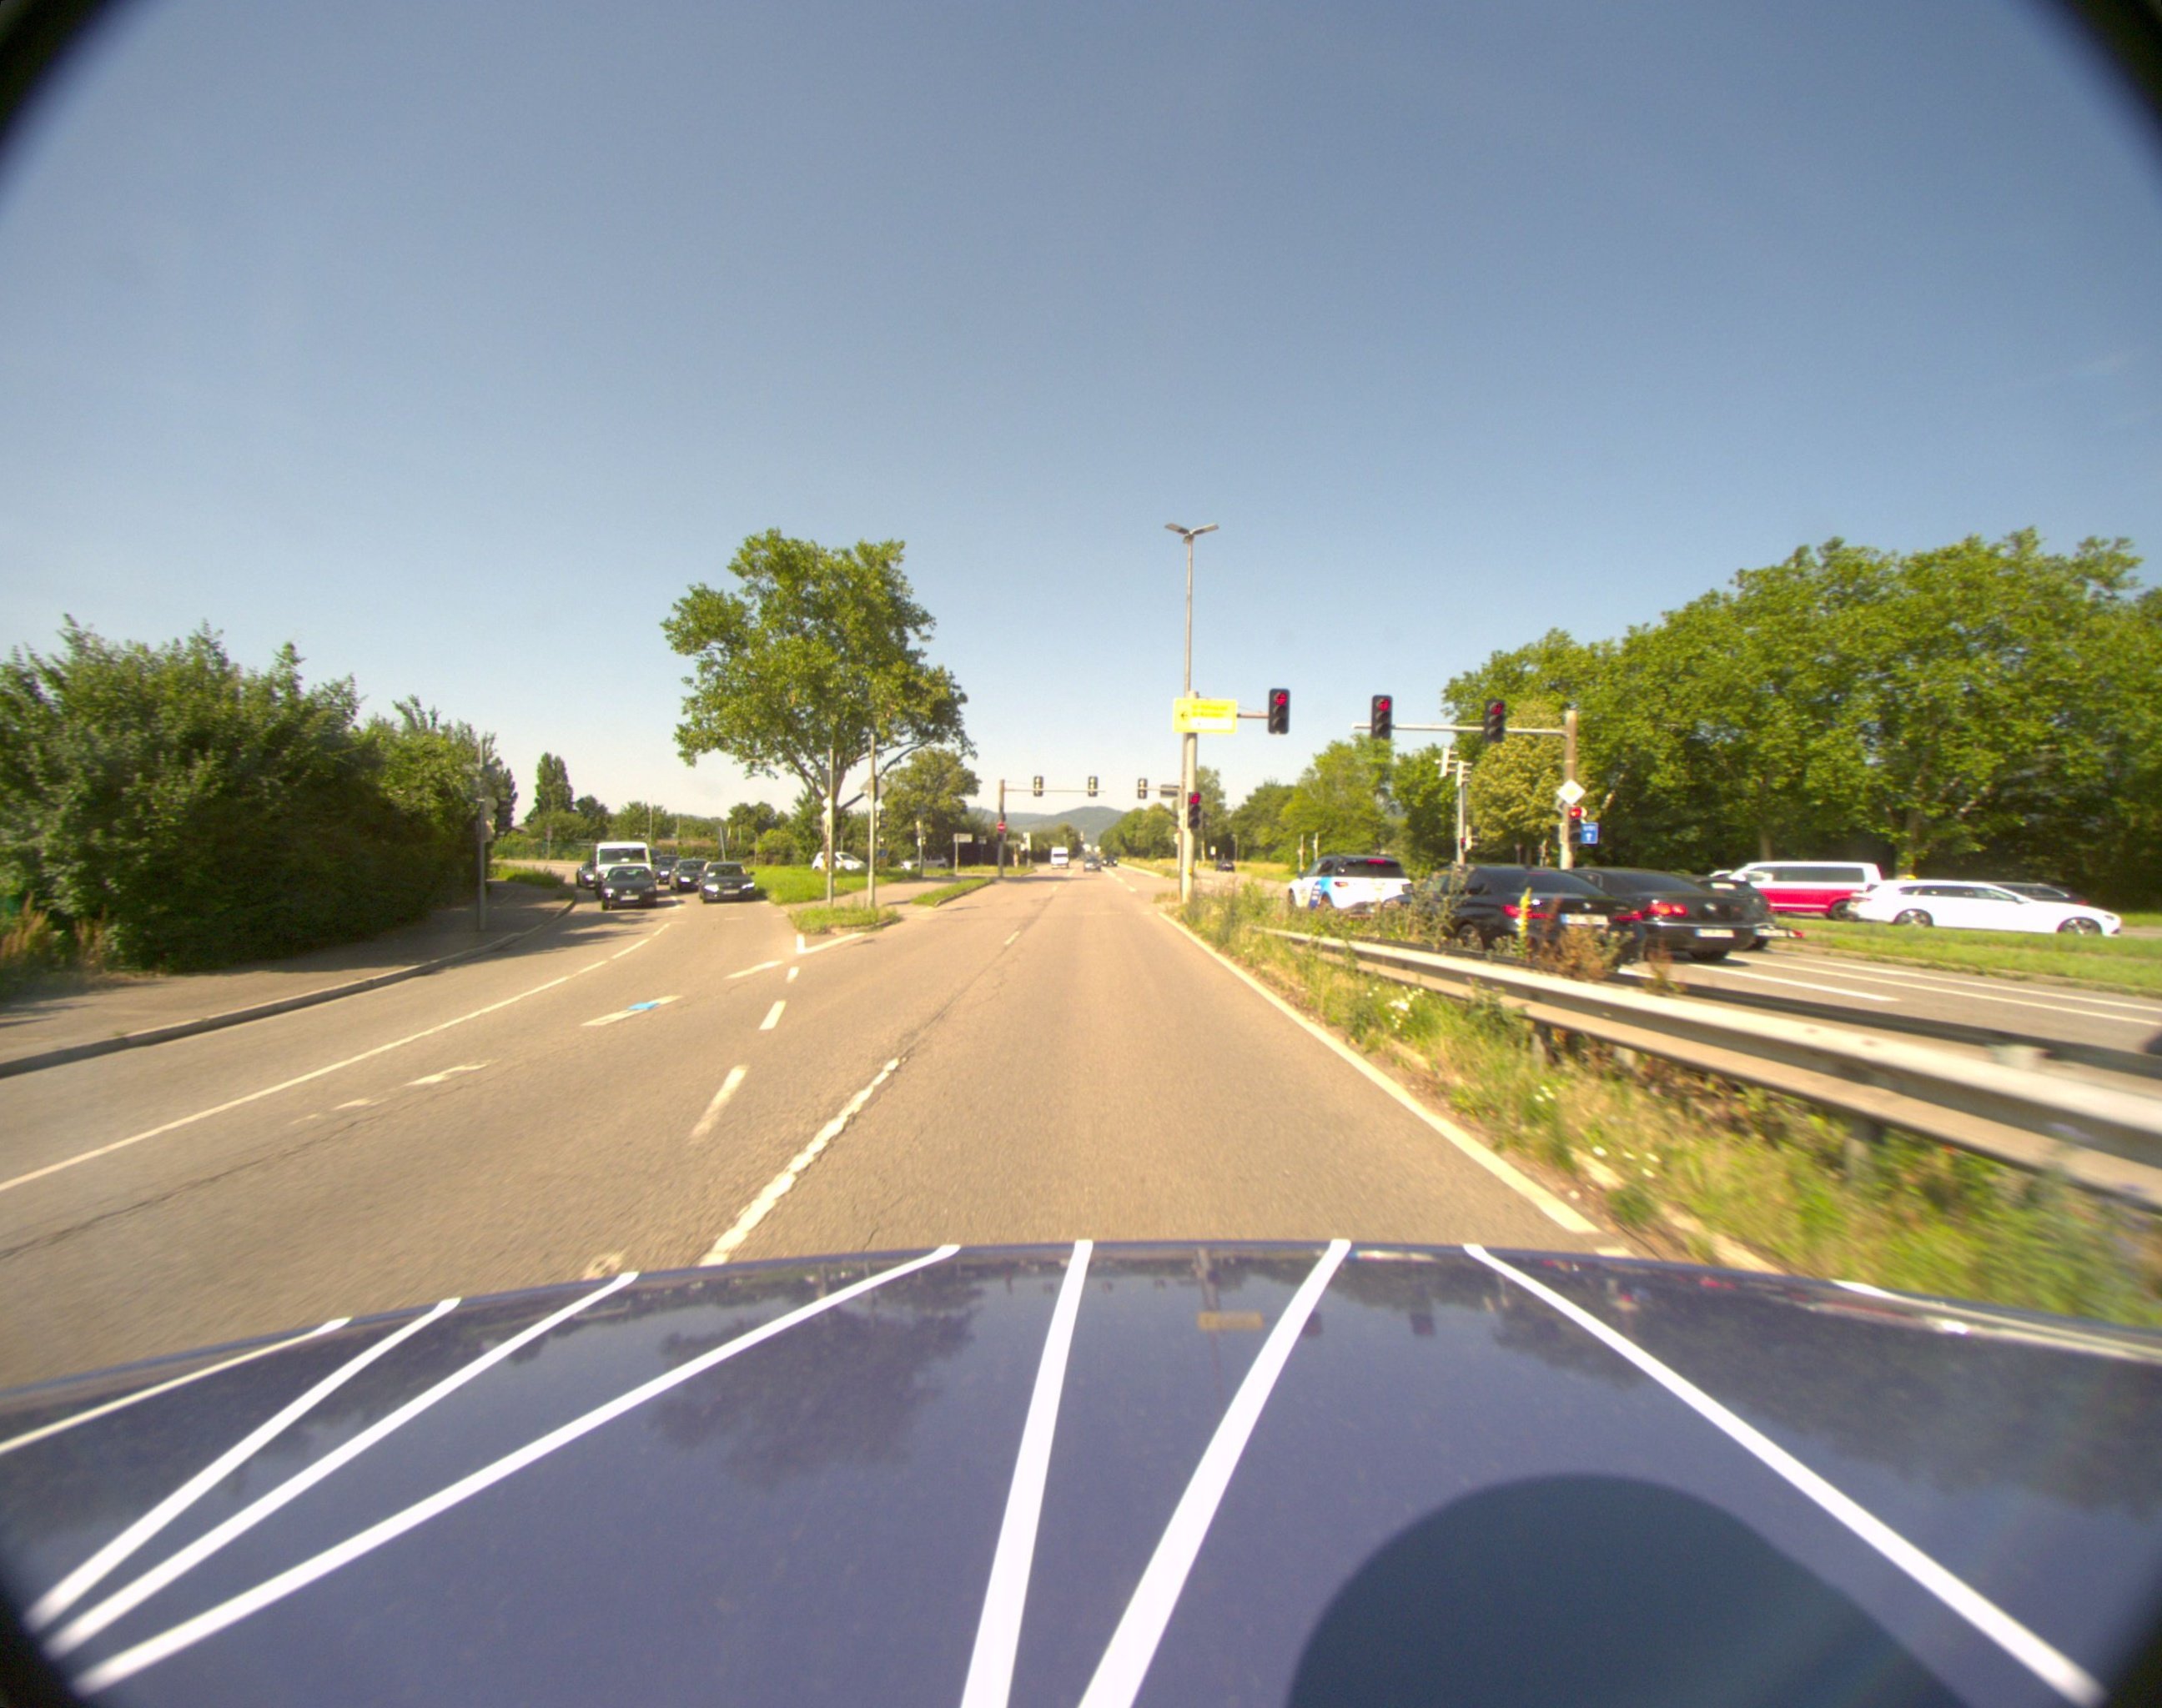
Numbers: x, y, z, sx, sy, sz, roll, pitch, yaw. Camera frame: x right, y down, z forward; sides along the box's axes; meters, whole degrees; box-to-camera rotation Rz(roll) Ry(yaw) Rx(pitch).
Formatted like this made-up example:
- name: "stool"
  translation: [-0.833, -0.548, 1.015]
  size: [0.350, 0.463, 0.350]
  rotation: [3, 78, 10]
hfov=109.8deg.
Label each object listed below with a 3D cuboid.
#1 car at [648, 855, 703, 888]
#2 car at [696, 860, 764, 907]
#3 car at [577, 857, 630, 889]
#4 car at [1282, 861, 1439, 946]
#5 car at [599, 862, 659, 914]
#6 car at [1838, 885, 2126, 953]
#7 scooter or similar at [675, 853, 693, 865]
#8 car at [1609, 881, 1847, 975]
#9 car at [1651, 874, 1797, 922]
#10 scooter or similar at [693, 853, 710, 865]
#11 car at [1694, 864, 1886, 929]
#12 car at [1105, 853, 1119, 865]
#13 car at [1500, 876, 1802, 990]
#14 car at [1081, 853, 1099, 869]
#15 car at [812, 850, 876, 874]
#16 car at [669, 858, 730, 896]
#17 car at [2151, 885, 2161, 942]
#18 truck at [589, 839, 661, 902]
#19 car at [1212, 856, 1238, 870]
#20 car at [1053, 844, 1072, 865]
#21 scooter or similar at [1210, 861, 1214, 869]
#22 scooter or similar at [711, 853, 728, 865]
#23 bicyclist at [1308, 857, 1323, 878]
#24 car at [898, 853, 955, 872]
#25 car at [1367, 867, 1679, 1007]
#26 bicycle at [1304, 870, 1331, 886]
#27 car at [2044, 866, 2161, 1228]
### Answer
- name: "car"
  translation: [-22.238, 0.900, 41.602]
  size: [1.890, 1.625, 4.456]
  rotation: [-2, 2, -38]
- name: "car"
  translation: [-13.454, 1.051, 28.995]
  size: [2.003, 1.538, 4.605]
  rotation: [0, 1, -29]
- name: "car"
  translation: [-24.681, 0.931, 39.218]
  size: [1.894, 1.412, 3.988]
  rotation: [-2, 2, -38]
- name: "car"
  translation: [6.079, 0.991, 17.135]
  size: [2.015, 1.600, 4.211]
  rotation: [1, 0, 1]
- name: "car"
  translation: [-15.753, 1.132, 26.606]
  size: [1.624, 1.539, 3.815]
  rotation: [-2, 2, -29]
- name: "car"
  translation: [25.259, 1.749, 21.652]
  size: [4.955, 1.456, 1.822]
  rotation: [2, 1, 36]
- name: "scooter or similar"
  translation: [-37.544, 0.477, 71.860]
  size: [1.384, 1.111, 0.500]
  rotation: [0, 1, -6]
- name: "car"
  translation: [12.556, 1.356, 15.095]
  size: [1.489, 1.406, 3.762]
  rotation: [3, 0, 1]
- name: "car"
  translation: [25.358, 1.679, 30.212]
  size: [4.255, 1.597, 2.009]
  rotation: [2, 0, 36]
- name: "scooter or similar"
  translation: [-35.956, 0.471, 71.995]
  size: [1.384, 1.111, 0.500]
  rotation: [0, 1, -6]
- name: "car"
  translation: [24.516, 1.398, 26.554]
  size: [4.641, 1.939, 2.004]
  rotation: [2, 1, 36]
- name: "car"
  translation: [4.042, 0.653, 98.419]
  size: [1.678, 1.435, 3.622]
  rotation: [0, 1, 1]
- name: "car"
  translation: [9.164, 1.168, 12.796]
  size: [1.935, 1.429, 4.268]
  rotation: [2, 0, 2]
- name: "car"
  translation: [0.840, 0.627, 70.654]
  size: [1.678, 1.435, 4.361]
  rotation: [0, 1, 1]
- name: "car"
  translation: [-15.189, 0.505, 48.733]
  size: [3.745, 1.460, 1.789]
  rotation: [1, 0, 28]
- name: "car"
  translation: [-17.797, 1.012, 35.354]
  size: [2.003, 1.519, 4.457]
  rotation: [-2, 1, -33]
- name: "car"
  translation: [35.663, 1.926, 22.283]
  size: [4.493, 1.790, 2.009]
  rotation: [2, 0, 36]
- name: "truck"
  translation: [-19.609, 0.592, 32.592]
  size: [2.349, 2.373, 6.458]
  rotation: [-3, 2, -32]
- name: "car"
  translation: [16.975, 1.023, 89.611]
  size: [1.999, 1.487, 4.281]
  rotation: [1, 2, -4]
- name: "car"
  translation: [-2.171, -0.006, 90.700]
  size: [1.998, 2.432, 5.088]
  rotation: [0, 1, 1]
- name: "scooter or similar"
  translation: [20.561, 1.719, 119.631]
  size: [0.369, 1.179, 1.340]
  rotation: [3, 1, 1]
- name: "scooter or similar"
  translation: [-34.445, 0.462, 72.448]
  size: [1.385, 1.111, 0.499]
  rotation: [0, 1, -18]
- name: "bicyclist"
  translation: [16.612, 0.958, 53.834]
  size: [0.848, 1.509, 0.747]
  rotation: [0, 0, 6]
- name: "car"
  translation: [-14.019, 0.761, 69.090]
  size: [4.694, 1.670, 1.902]
  rotation: [1, 1, -44]
- name: "car"
  translation: [5.856, 0.964, 10.948]
  size: [1.821, 1.476, 4.895]
  rotation: [2, -1, 3]
- name: "bicycle"
  translation: [16.731, 1.697, 53.828]
  size: [1.679, 1.035, 0.747]
  rotation: [0, 0, 6]
- name: "car"
  translation: [5.702, 0.896, 1.427]
  size: [1.851, 1.585, 4.616]
  rotation: [2, 0, 0]
